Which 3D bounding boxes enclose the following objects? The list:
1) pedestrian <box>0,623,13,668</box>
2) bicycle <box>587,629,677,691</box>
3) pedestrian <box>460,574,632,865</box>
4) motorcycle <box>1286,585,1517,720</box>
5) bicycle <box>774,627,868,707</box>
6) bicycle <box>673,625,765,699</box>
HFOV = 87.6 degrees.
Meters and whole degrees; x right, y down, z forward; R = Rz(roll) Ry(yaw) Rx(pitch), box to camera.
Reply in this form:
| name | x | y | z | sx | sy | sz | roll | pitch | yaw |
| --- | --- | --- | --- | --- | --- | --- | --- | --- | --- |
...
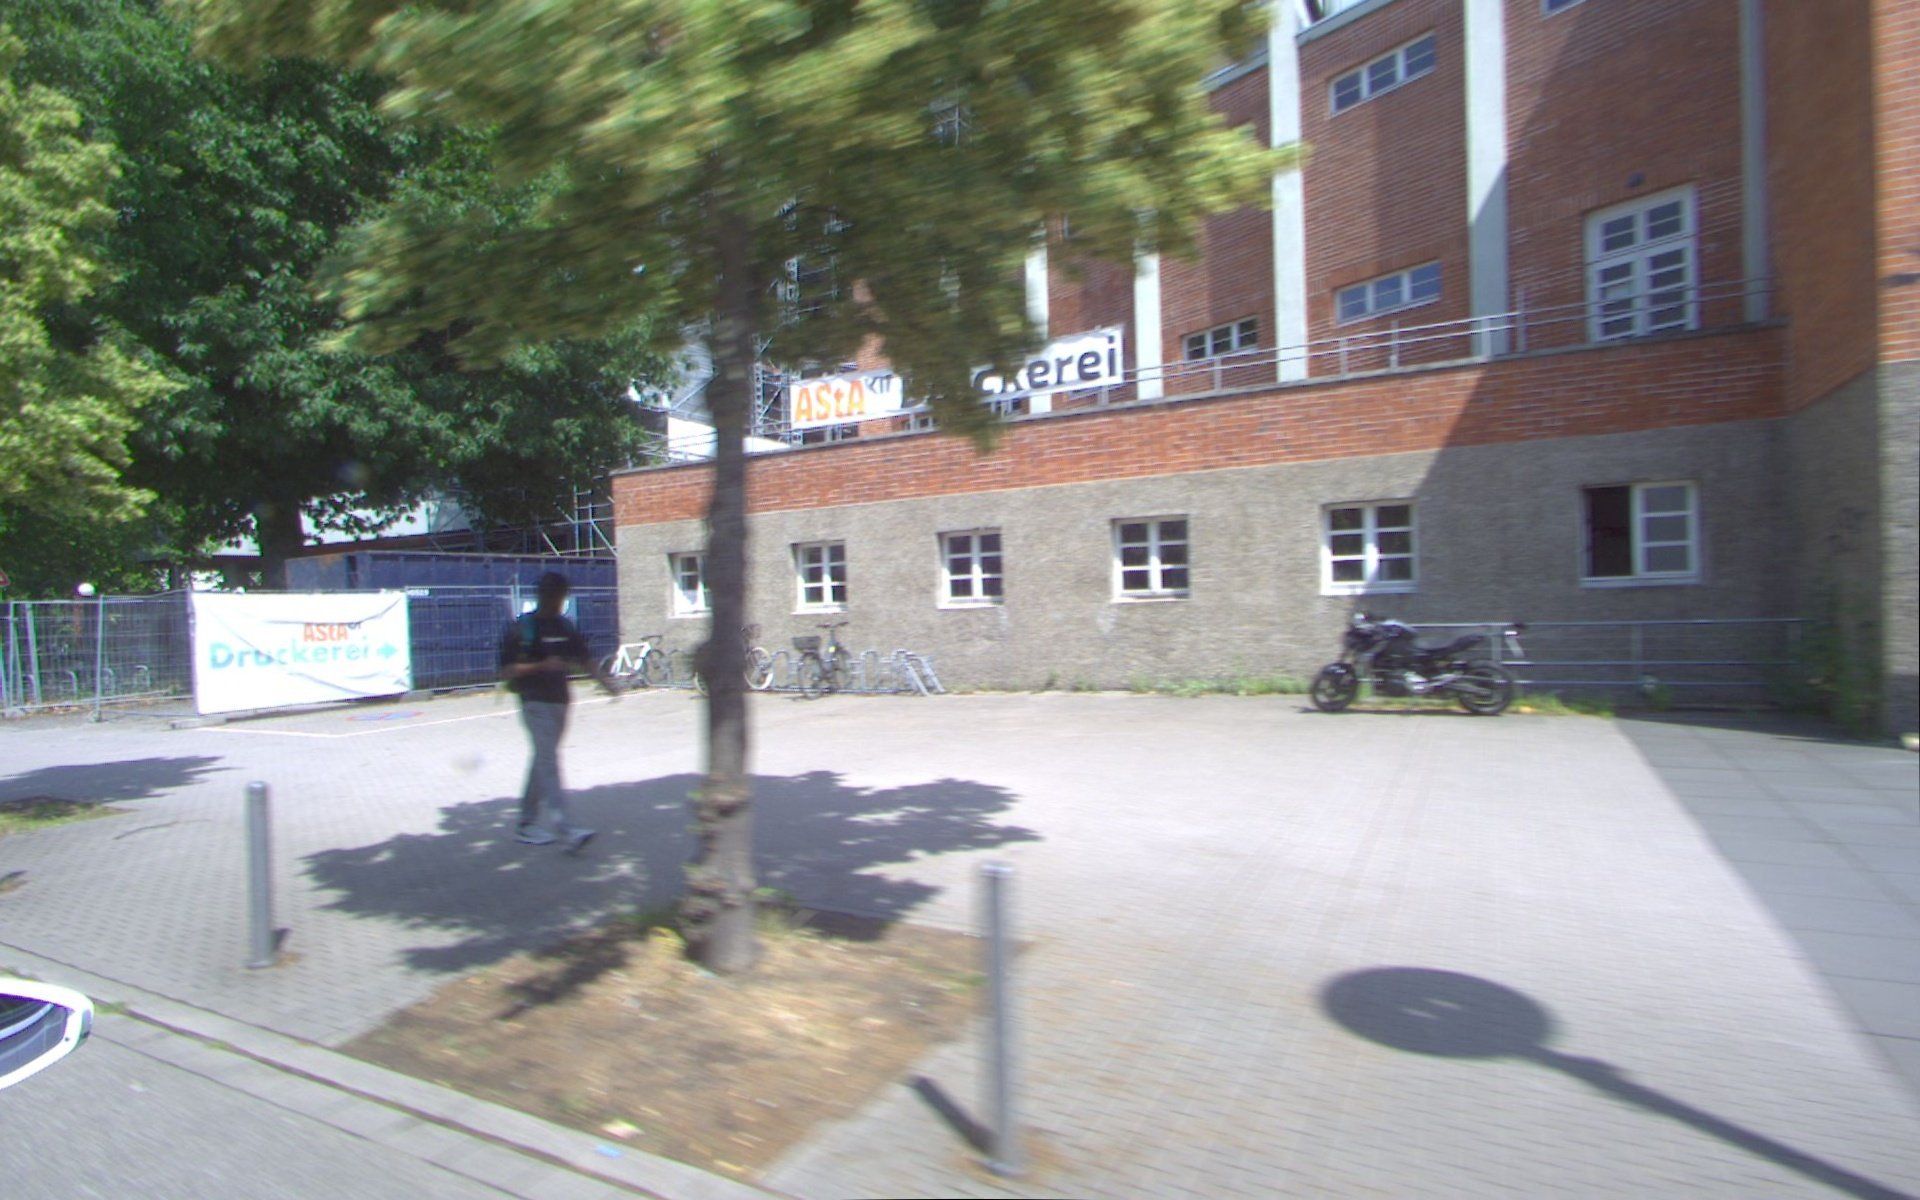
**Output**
| name | x | y | z | sx | sy | sz | roll | pitch | yaw |
| --- | --- | --- | --- | --- | --- | --- | --- | --- | --- |
| pedestrian | -39.906 | 1.890 | 41.688 | 0.752 | 1.861 | 0.541 | -2 | 0 | 35 |
| bicycle | -5.837 | 1.052 | 17.897 | 0.441 | 1.016 | 1.669 | -1 | 0 | 28 |
| pedestrian | -2.630 | 0.718 | 6.384 | 0.781 | 1.719 | 0.640 | -1 | 0 | 30 |
| motorcycle | 4.720 | 0.552 | 10.773 | 2.187 | 1.340 | 0.695 | -2 | 0 | 31 |
| bicycle | -2.131 | 1.012 | 15.611 | 0.441 | 1.124 | 1.804 | -1 | 0 | 28 |
| bicycle | -3.945 | 0.999 | 16.520 | 0.441 | 1.124 | 1.699 | -1 | 0 | 28 |
